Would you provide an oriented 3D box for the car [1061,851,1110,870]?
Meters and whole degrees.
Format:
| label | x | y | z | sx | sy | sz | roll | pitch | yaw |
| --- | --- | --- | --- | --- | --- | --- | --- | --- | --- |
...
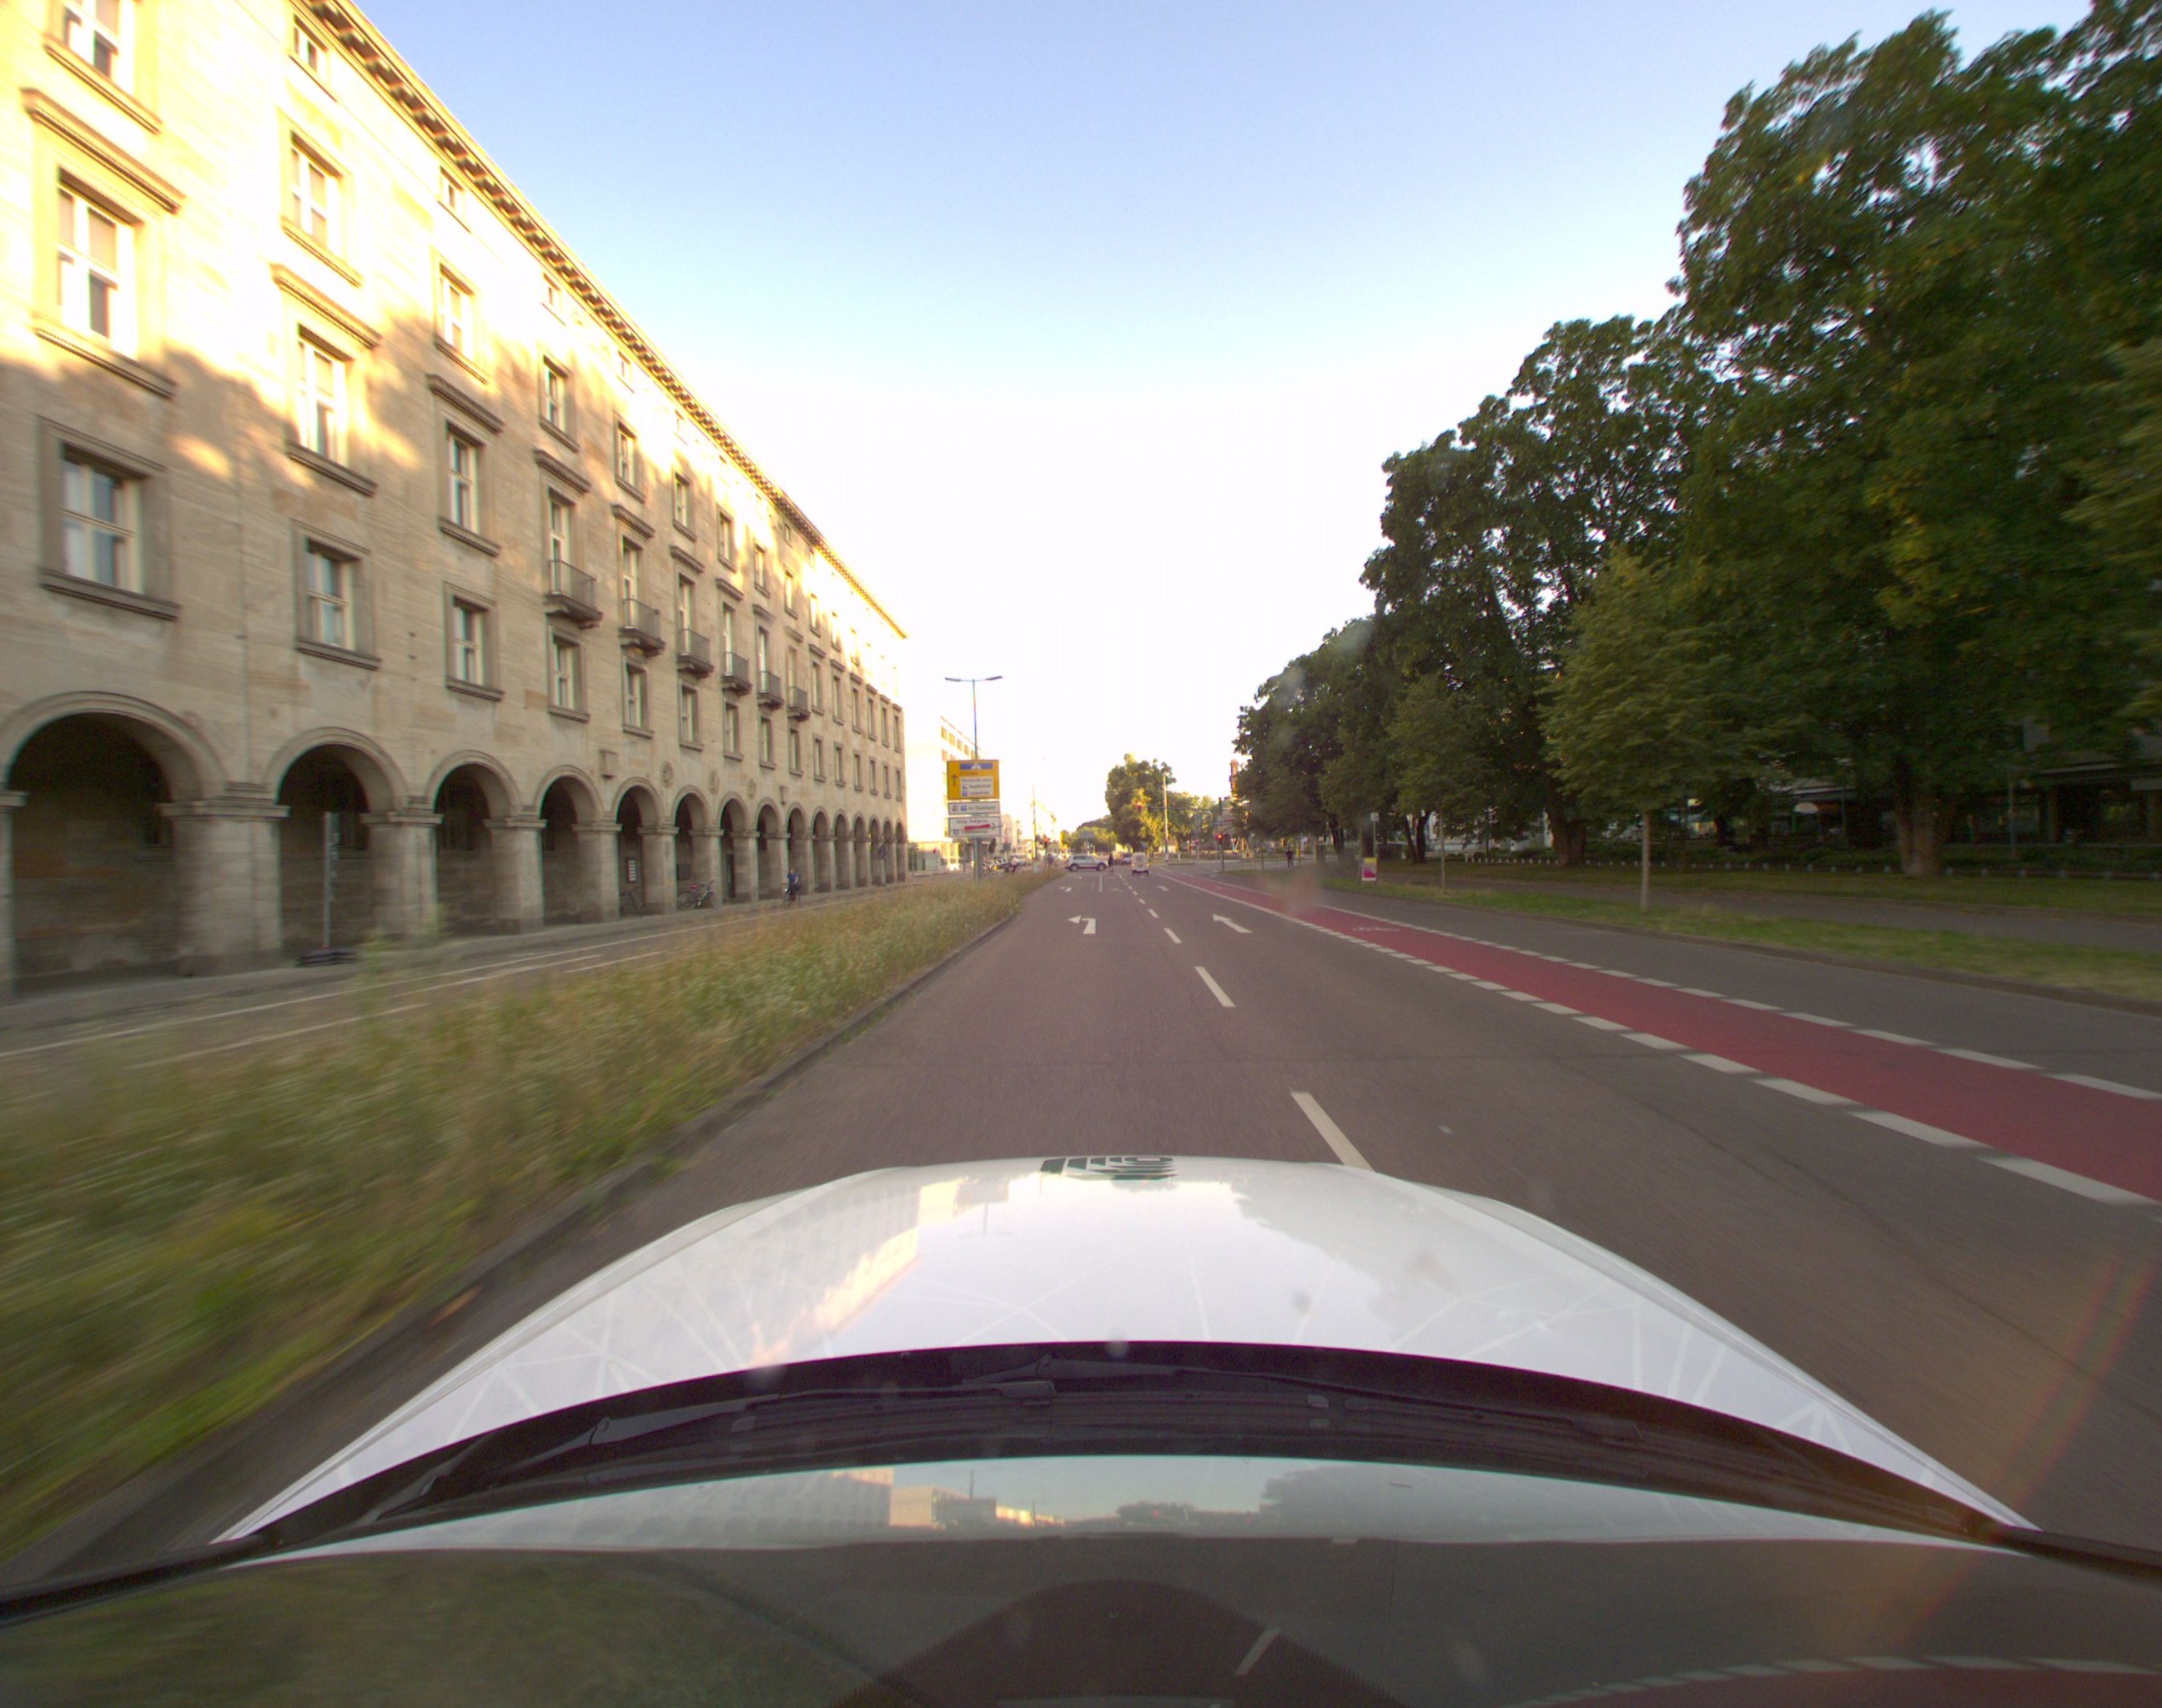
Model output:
| label | x | y | z | sx | sy | sz | roll | pitch | yaw |
| --- | --- | --- | --- | --- | --- | --- | --- | --- | --- |
| car | 0.422 | 0.602 | 79.906 | 4.529 | 1.648 | 1.995 | -2 | 0 | -7 |

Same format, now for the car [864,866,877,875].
| label | x | y | z | sx | sy | sz | roll | pitch | yaw |
| --- | --- | --- | --- | --- | --- | --- | --- | --- | --- |
| car | -26.038 | 2.031 | 100.806 | 0.850 | 1.073 | 2.522 | -2 | 0 | 1 |

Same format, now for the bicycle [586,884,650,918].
| label | x | y | z | sx | sy | sz | roll | pitch | yaw |
| --- | --- | --- | --- | --- | --- | --- | --- | --- | --- |
| bicycle | -15.529 | 1.572 | 27.390 | 0.473 | 1.005 | 2.015 | -2 | 0 | 20 |

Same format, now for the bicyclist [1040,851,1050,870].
| label | x | y | z | sx | sy | sz | roll | pitch | yaw |
| --- | --- | --- | --- | --- | --- | --- | --- | --- | --- |
| bicyclist | -3.314 | 0.574 | 75.594 | 0.743 | 1.693 | 0.716 | -2 | -1 | 4 |

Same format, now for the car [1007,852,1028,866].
| label | x | y | z | sx | sy | sz | roll | pitch | yaw |
| --- | --- | --- | --- | --- | --- | --- | --- | --- | --- |
| car | -11.998 | 0.987 | 153.525 | 2.162 | 2.385 | 6.009 | -3 | -2 | 13 |

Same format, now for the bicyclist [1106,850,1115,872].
| label | x | y | z | sx | sy | sz | roll | pitch | yaw |
| --- | --- | --- | --- | --- | --- | --- | --- | --- | --- |
| bicyclist | 2.321 | 0.519 | 64.285 | 0.626 | 1.693 | 0.748 | -2 | -1 | 0 |

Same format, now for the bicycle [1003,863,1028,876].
| label | x | y | z | sx | sy | sz | roll | pitch | yaw |
| --- | --- | --- | --- | --- | --- | --- | --- | --- | --- |
| bicycle | -5.676 | 1.354 | 70.571 | 2.051 | 1.069 | 0.786 | -2 | 0 | -1 |

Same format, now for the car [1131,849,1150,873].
| label | x | y | z | sx | sy | sz | roll | pitch | yaw |
| --- | --- | --- | --- | --- | --- | --- | --- | --- | --- |
| car | 4.654 | 0.520 | 63.997 | 1.453 | 1.780 | 2.567 | -2 | 1 | 4 |

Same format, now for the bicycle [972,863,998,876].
| label | x | y | z | sx | sy | sz | roll | pitch | yaw |
| --- | --- | --- | --- | --- | --- | --- | --- | --- | --- |
| bicycle | -8.105 | 1.315 | 68.769 | 2.007 | 1.069 | 0.731 | -2 | 0 | 2 |

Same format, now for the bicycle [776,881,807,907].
| label | x | y | z | sx | sy | sz | roll | pitch | yaw |
| --- | --- | --- | --- | --- | --- | --- | --- | --- | --- |
| bicycle | -12.308 | 1.680 | 34.686 | 0.539 | 1.005 | 2.005 | -2 | 0 | 1 |

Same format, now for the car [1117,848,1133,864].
| label | x | y | z | sx | sy | sz | roll | pitch | yaw |
| --- | --- | --- | --- | --- | --- | --- | --- | --- | --- |
| car | 6.045 | 0.254 | 112.229 | 1.987 | 2.013 | 4.000 | -2 | 0 | 0 |

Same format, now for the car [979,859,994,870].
| label | x | y | z | sx | sy | sz | roll | pitch | yaw |
| --- | --- | --- | --- | --- | --- | --- | --- | --- | --- |
| car | -14.331 | 1.636 | 123.683 | 1.790 | 1.475 | 3.999 | -2 | -2 | 1 |

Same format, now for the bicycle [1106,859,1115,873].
| label | x | y | z | sx | sy | sz | roll | pitch | yaw |
| --- | --- | --- | --- | --- | --- | --- | --- | --- | --- |
| bicycle | 2.354 | 0.941 | 64.598 | 0.635 | 1.069 | 2.070 | -1 | 0 | 1 |

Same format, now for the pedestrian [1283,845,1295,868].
| label | x | y | z | sx | sy | sz | roll | pitch | yaw |
| --- | --- | --- | --- | --- | --- | --- | --- | --- | --- |
| pedestrian | 16.254 | 0.197 | 63.739 | 0.693 | 1.693 | 0.748 | -2 | -1 | 0 |

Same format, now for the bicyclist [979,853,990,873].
| label | x | y | z | sx | sy | sz | roll | pitch | yaw |
| --- | --- | --- | --- | --- | --- | --- | --- | --- | --- |
| bicyclist | -8.136 | 0.774 | 68.788 | 0.744 | 1.693 | 0.715 | -2 | -1 | 0 |

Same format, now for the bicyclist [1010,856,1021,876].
| label | x | y | z | sx | sy | sz | roll | pitch | yaw |
| --- | --- | --- | --- | --- | --- | --- | --- | --- | --- |
| bicyclist | -5.672 | 1.031 | 70.595 | 0.743 | 1.693 | 0.765 | -2 | -1 | 1 |

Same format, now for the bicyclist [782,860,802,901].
| label | x | y | z | sx | sy | sz | roll | pitch | yaw |
| --- | --- | --- | --- | --- | --- | --- | --- | --- | --- |
| bicyclist | -12.325 | 1.115 | 34.738 | 0.534 | 1.693 | 0.749 | -2 | -1 | 2 |

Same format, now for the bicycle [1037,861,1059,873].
| label | x | y | z | sx | sy | sz | roll | pitch | yaw |
| --- | --- | --- | --- | --- | --- | --- | --- | --- | --- |
| bicycle | -3.054 | 1.206 | 75.569 | 1.888 | 1.069 | 0.731 | -2 | -1 | 4 |

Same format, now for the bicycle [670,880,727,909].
| label | x | y | z | sx | sy | sz | roll | pitch | yaw |
| --- | --- | --- | --- | --- | --- | --- | --- | --- | --- |
| bicycle | -15.213 | 1.601 | 32.427 | 0.472 | 1.005 | 2.018 | -3 | 0 | 37 |
